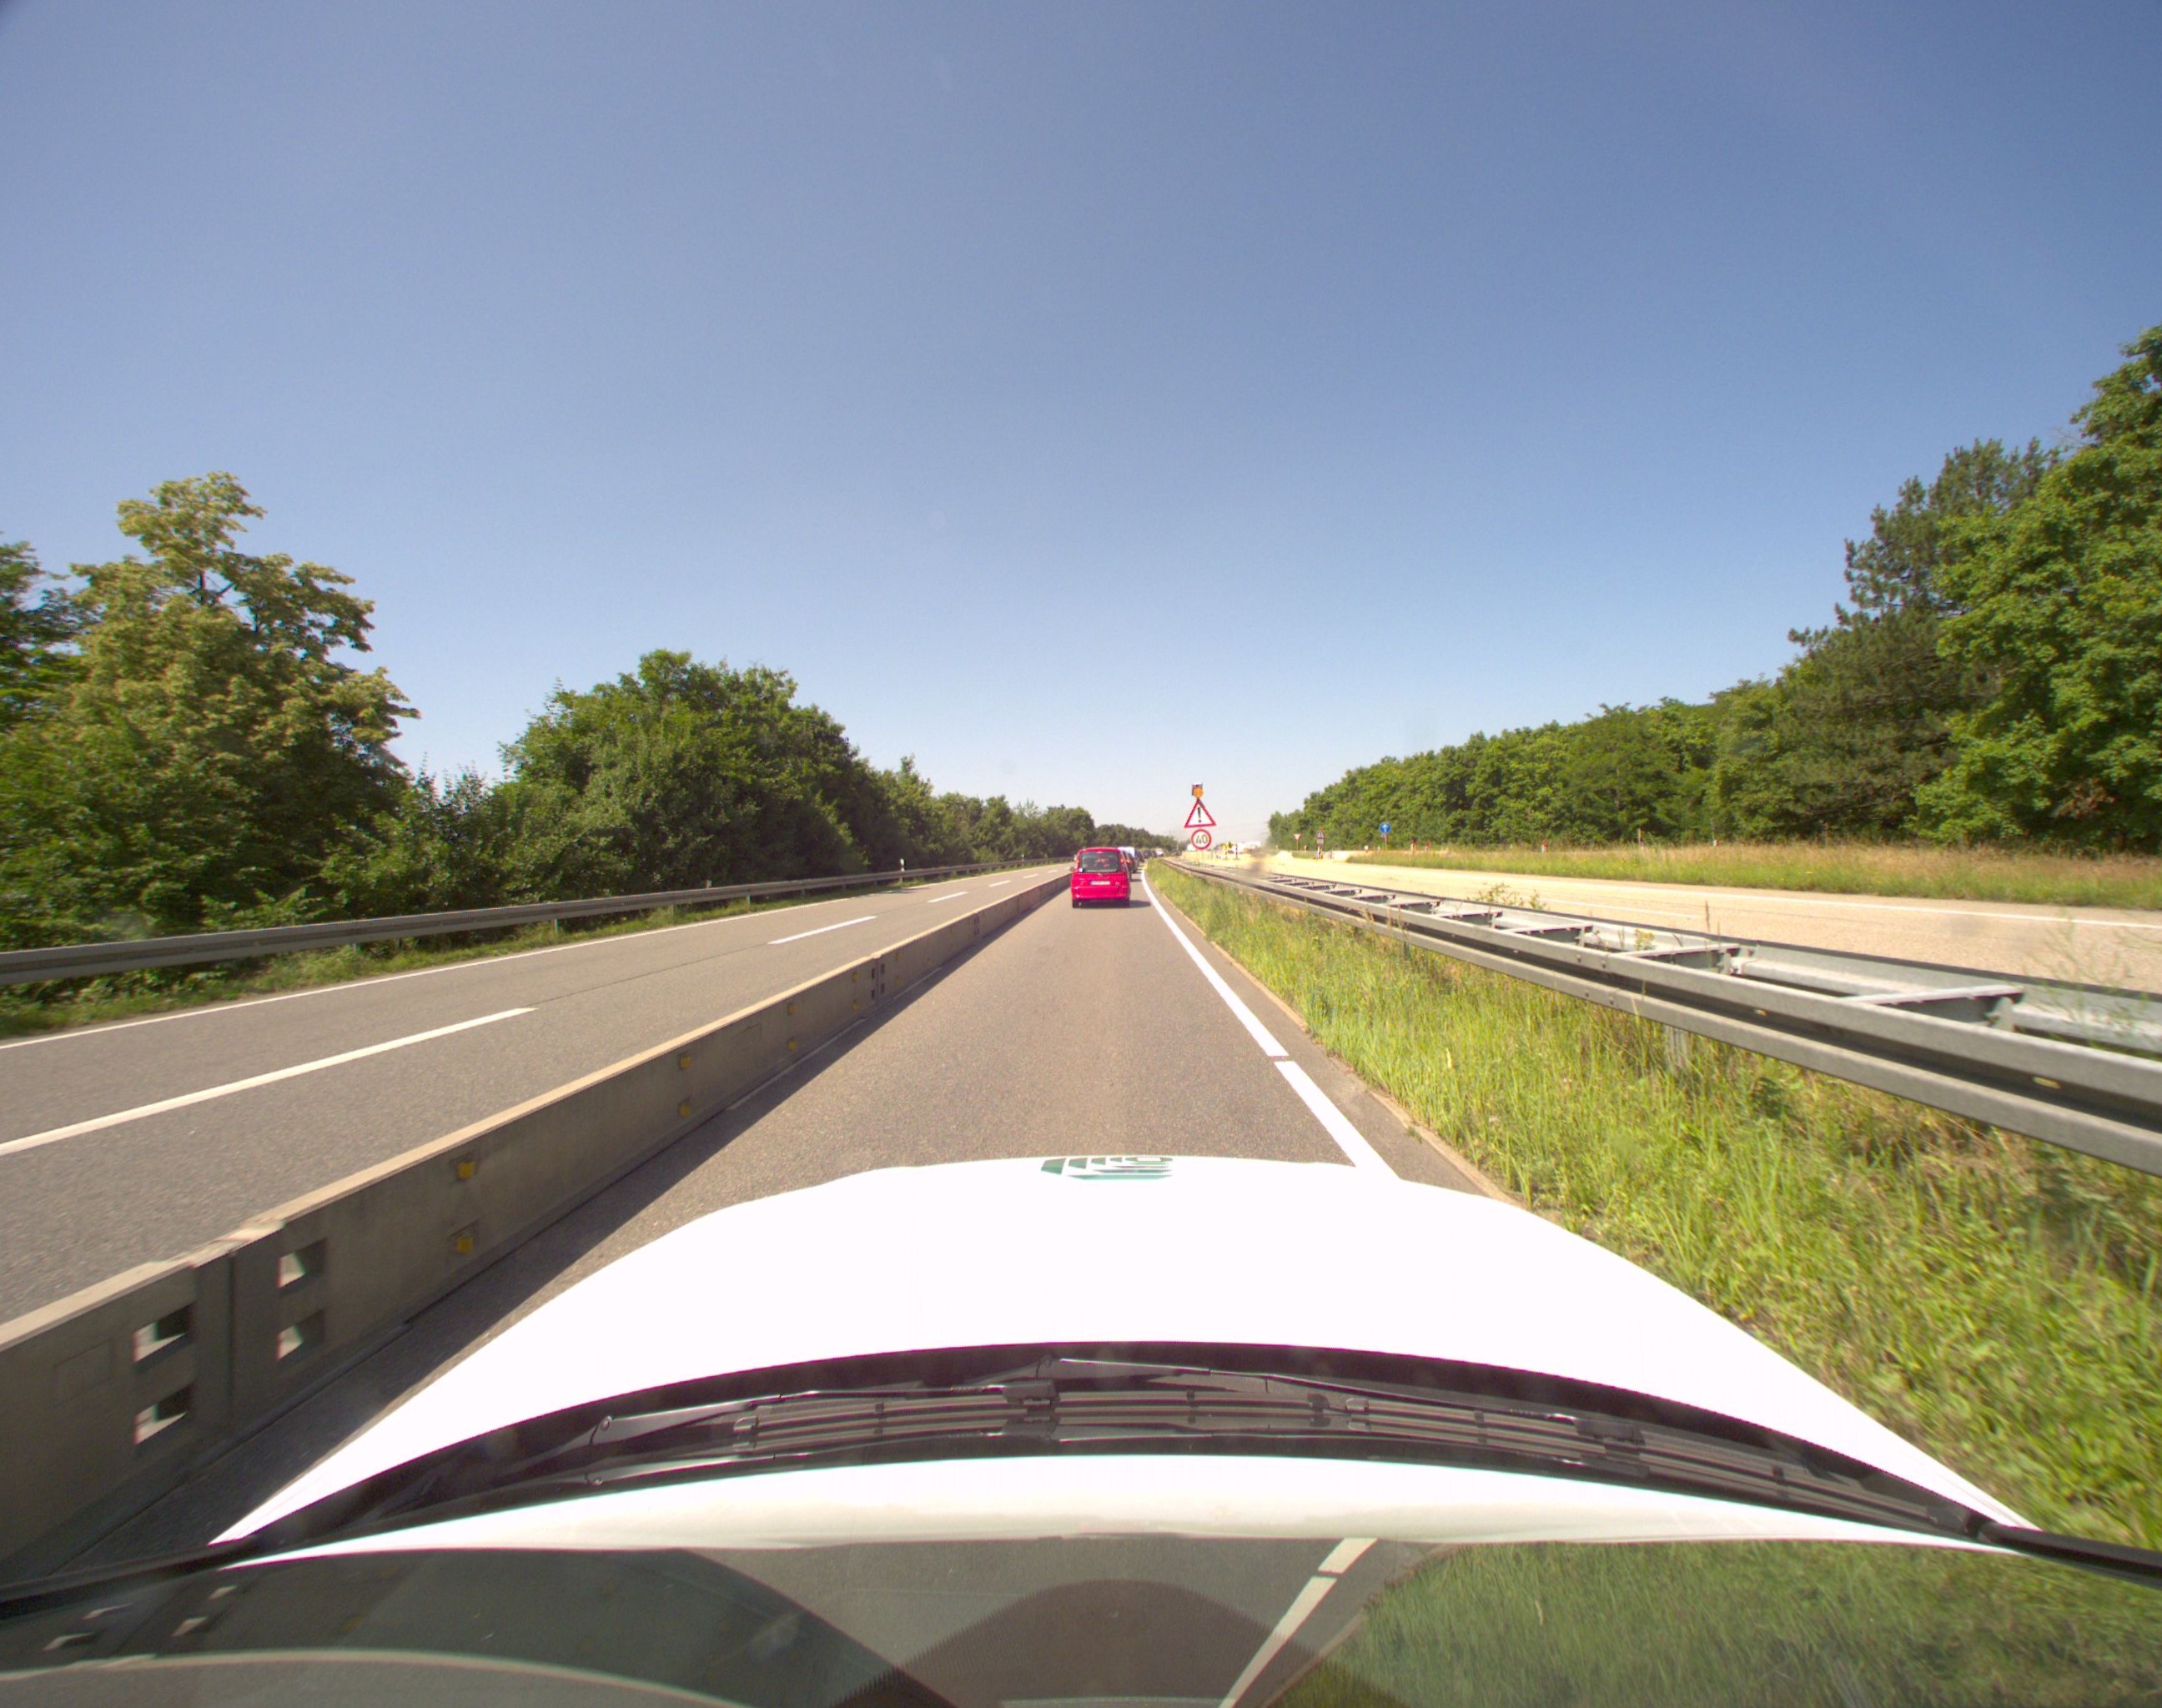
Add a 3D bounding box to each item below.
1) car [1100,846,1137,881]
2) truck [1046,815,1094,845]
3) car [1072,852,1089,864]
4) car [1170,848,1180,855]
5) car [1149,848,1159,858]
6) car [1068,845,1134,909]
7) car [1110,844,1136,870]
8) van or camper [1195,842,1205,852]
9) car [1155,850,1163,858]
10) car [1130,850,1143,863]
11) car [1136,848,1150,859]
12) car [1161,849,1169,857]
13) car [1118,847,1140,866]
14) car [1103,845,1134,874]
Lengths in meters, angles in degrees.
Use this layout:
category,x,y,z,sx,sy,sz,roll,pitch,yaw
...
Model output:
category,x,y,z,sx,sy,sz,roll,pitch,yaw
car,1.937,0.459,42.180,1.823,1.722,4.003,-1,0,2
truck,-1.986,-4.574,155.414,8.578,5.375,3.394,-2,0,5
car,-0.050,0.462,103.416,1.940,1.421,4.357,-2,0,3
car,22.195,-0.557,192.167,1.985,1.552,4.005,-1,0,4
car,12.229,-0.180,136.805,1.495,1.736,3.174,-2,0,5
car,0.571,0.620,24.006,1.746,1.673,4.000,-1,0,1
car,3.333,0.233,65.418,1.986,2.003,4.001,-1,0,1
van or camper,34.131,-2.031,233.642,2.319,2.707,4.595,-2,0,2
car,14.580,0.012,152.481,1.414,1.298,2.884,-1,0,7
car,6.659,0.321,96.845,1.495,1.450,3.329,-1,0,4
car,9.192,-0.108,120.689,1.983,1.585,4.008,-1,0,7
car,17.301,-0.239,168.296,1.494,1.450,3.176,-3,0,7
car,4.684,0.266,80.099,1.987,1.750,4.001,-1,0,1
car,2.600,0.358,55.644,1.985,1.838,4.004,-2,0,4
